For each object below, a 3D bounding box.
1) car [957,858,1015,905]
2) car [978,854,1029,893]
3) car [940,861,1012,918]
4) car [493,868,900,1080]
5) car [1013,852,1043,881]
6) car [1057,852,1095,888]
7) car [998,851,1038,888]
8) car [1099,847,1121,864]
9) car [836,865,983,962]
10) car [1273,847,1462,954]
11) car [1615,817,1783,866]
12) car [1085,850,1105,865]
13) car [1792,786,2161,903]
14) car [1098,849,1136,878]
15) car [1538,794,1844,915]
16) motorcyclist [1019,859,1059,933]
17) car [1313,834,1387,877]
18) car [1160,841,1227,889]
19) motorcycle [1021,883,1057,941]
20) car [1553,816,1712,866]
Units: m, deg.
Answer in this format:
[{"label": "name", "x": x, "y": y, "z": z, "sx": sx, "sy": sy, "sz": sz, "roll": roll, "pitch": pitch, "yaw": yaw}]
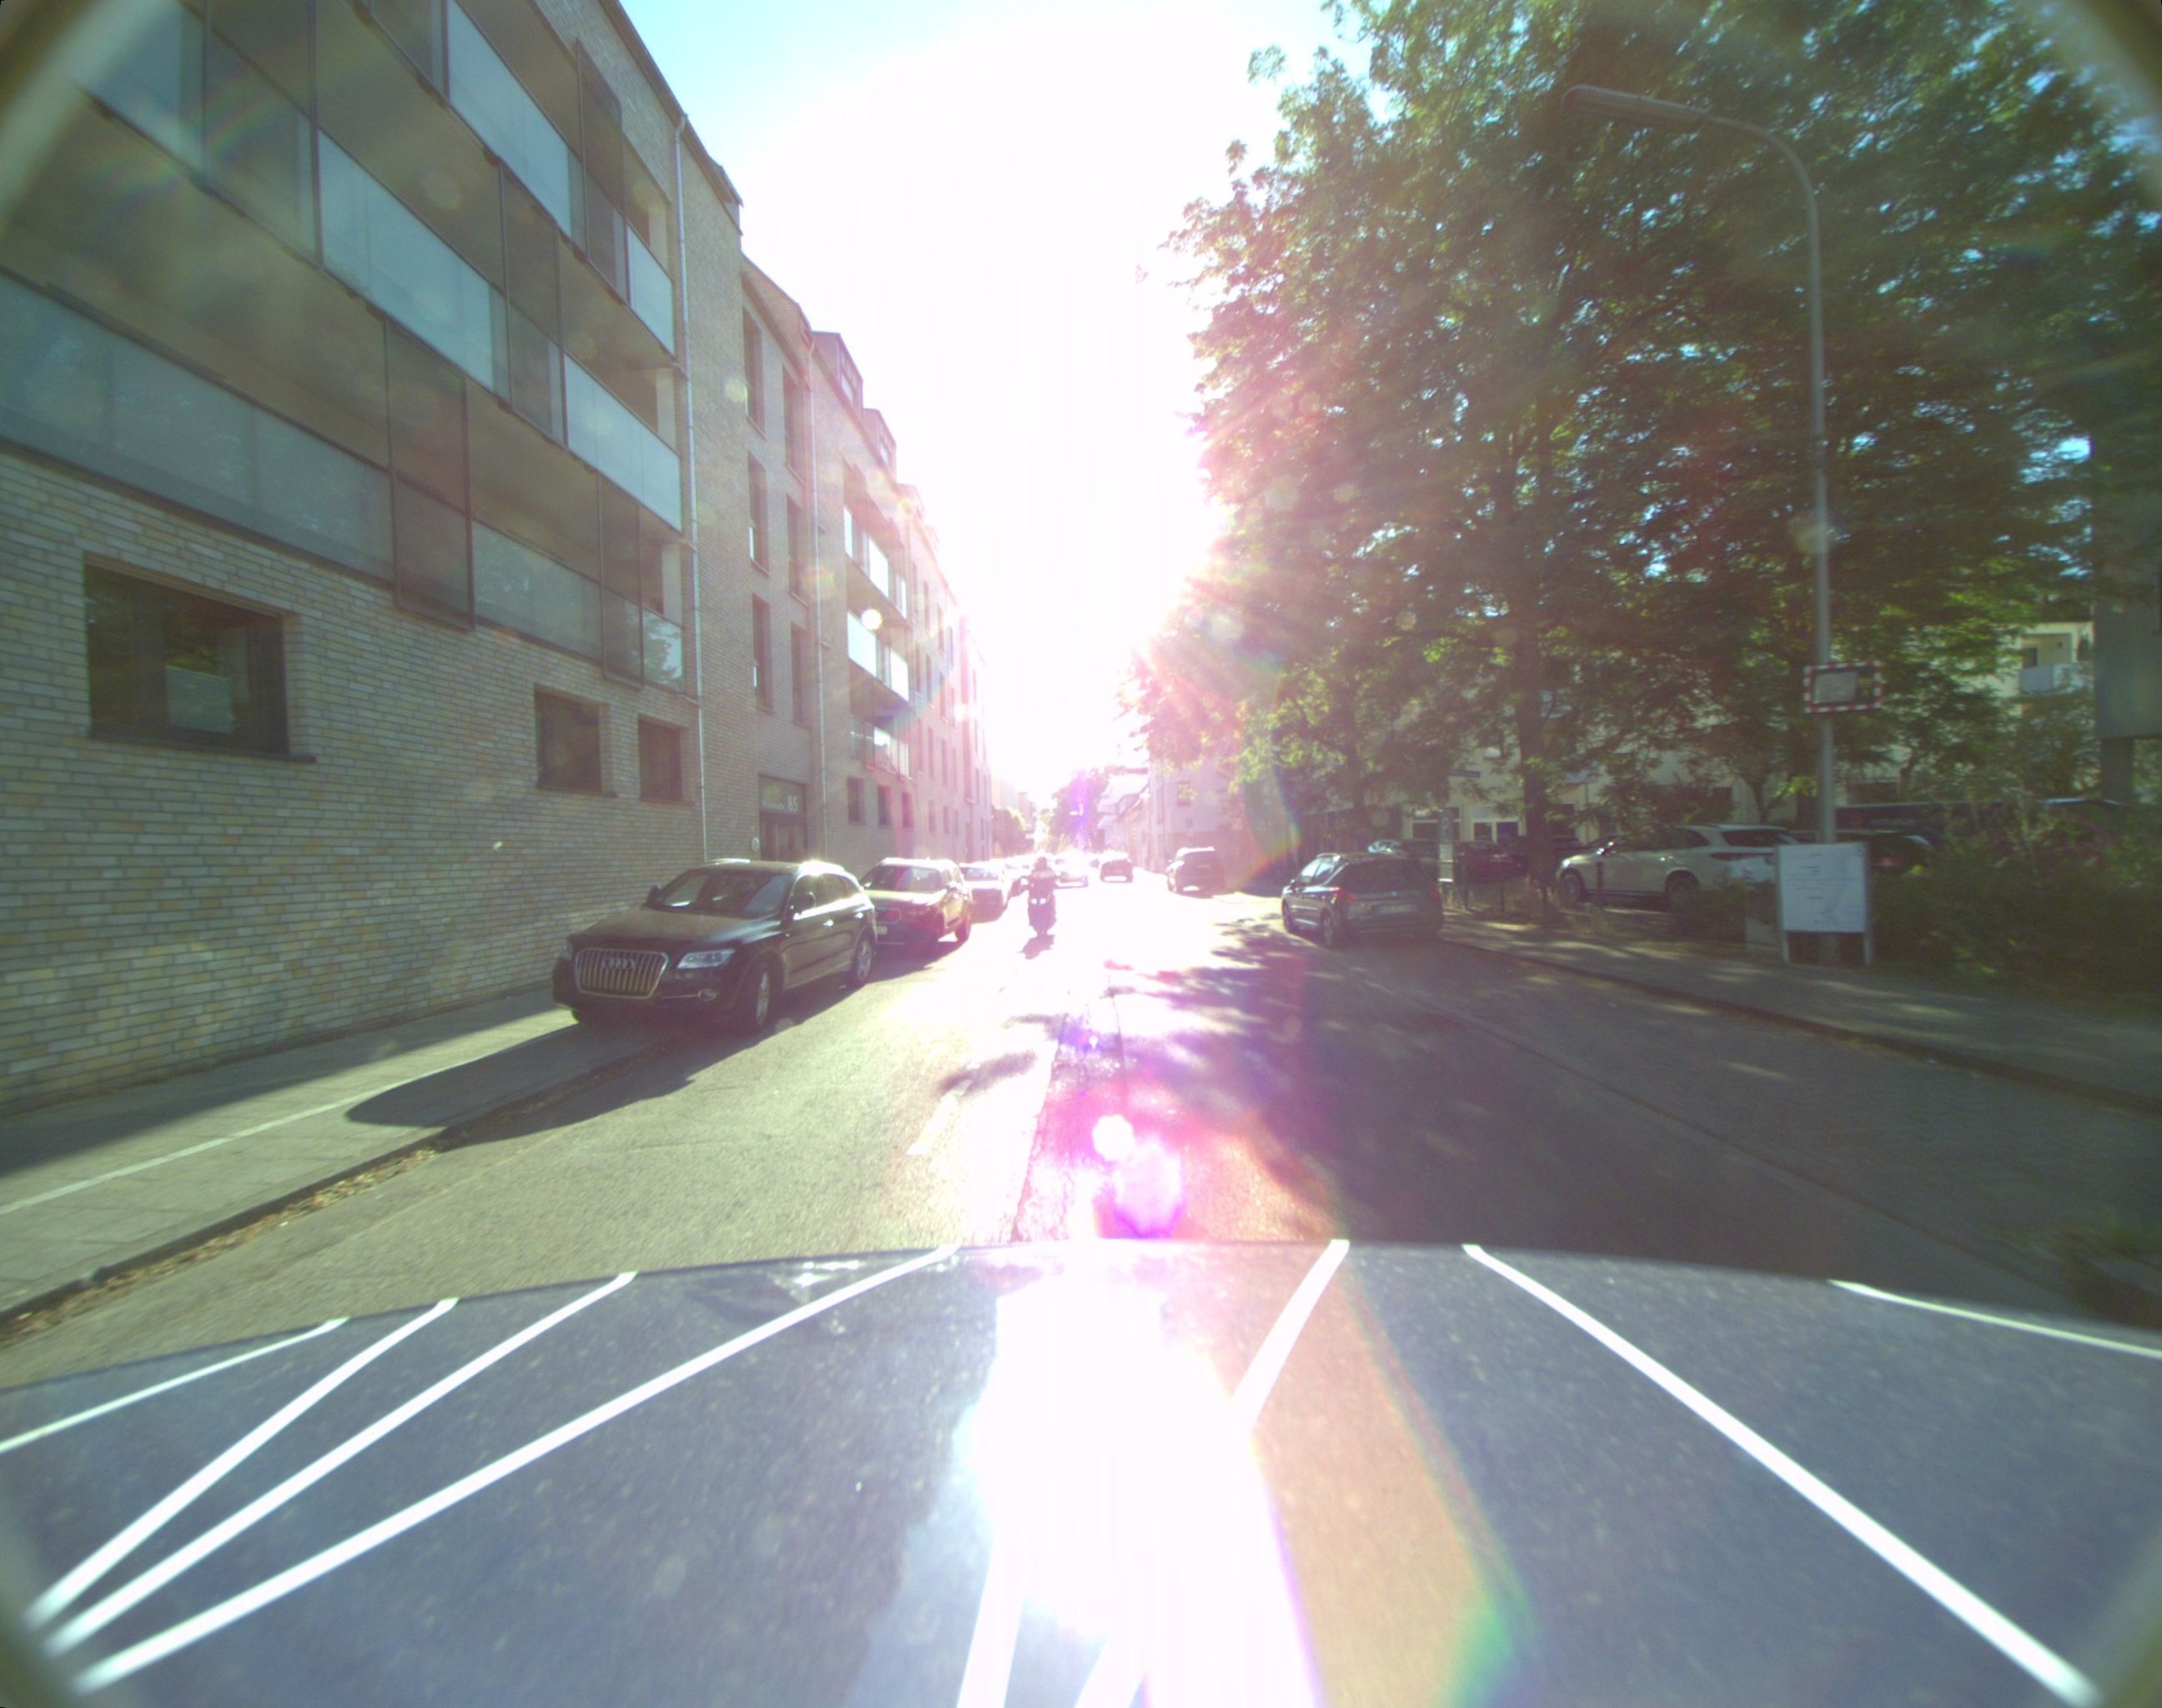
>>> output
[{"label": "car", "x": -3.403, "y": 0.946, "z": 27.893, "sx": 1.668, "sy": 1.507, "sz": 4.218, "roll": -1, "pitch": 1, "yaw": -1}, {"label": "car", "x": -3.351, "y": 0.820, "z": 33.751, "sx": 1.729, "sy": 1.521, "sz": 4.625, "roll": 1, "pitch": 1, "yaw": 0}, {"label": "car", "x": -3.104, "y": 0.991, "z": 23.253, "sx": 1.701, "sy": 1.459, "sz": 4.718, "roll": -1, "pitch": 1, "yaw": -2}, {"label": "car", "x": -3.895, "y": 1.087, "z": 8.914, "sx": 1.893, "sy": 1.702, "sz": 4.776, "roll": -2, "pitch": 0, "yaw": 6}, {"label": "car", "x": -3.045, "y": 0.674, "z": 44.309, "sx": 1.655, "sy": 1.582, "sz": 4.341, "roll": 0, "pitch": 0, "yaw": -3}, {"label": "car", "x": -0.262, "y": 0.785, "z": 38.287, "sx": 1.708, "sy": 1.570, "sz": 3.915, "roll": -4, "pitch": 1, "yaw": 0}, {"label": "car", "x": -3.159, "y": 0.729, "z": 39.060, "sx": 1.671, "sy": 1.723, "sz": 4.838, "roll": -2, "pitch": 1, "yaw": -1}, {"label": "car", "x": 3.278, "y": 0.119, "z": 86.673, "sx": 1.999, "sy": 1.619, "sz": 3.999, "roll": -9, "pitch": 1, "yaw": -1}, {"label": "car", "x": -3.157, "y": 1.034, "z": 14.882, "sx": 1.821, "sy": 1.458, "sz": 4.269, "roll": -2, "pitch": 1, "yaw": 0}, {"label": "car", "x": 4.678, "y": 0.667, "z": 13.050, "sx": 1.701, "sy": 1.483, "sz": 4.000, "roll": -3, "pitch": 0, "yaw": 0}, {"label": "car", "x": 22.474, "y": -0.440, "z": 27.991, "sx": 1.943, "sy": 1.551, "sz": 5.186, "roll": -3, "pitch": 0, "yaw": 0}, {"label": "car", "x": 1.402, "y": 0.303, "z": 78.444, "sx": 1.812, "sy": 1.458, "sz": 3.999, "roll": -2, "pitch": 1, "yaw": -2}, {"label": "car", "x": 17.385, "y": -0.174, "z": 15.134, "sx": 2.024, "sy": 1.937, "sz": 4.320, "roll": -3, "pitch": 1, "yaw": -10}, {"label": "car", "x": 2.095, "y": 0.534, "z": 45.317, "sx": 1.944, "sy": 1.567, "sz": 4.318, "roll": -2, "pitch": 1, "yaw": 0}, {"label": "car", "x": 11.401, "y": 0.016, "z": 14.800, "sx": 1.848, "sy": 1.884, "sz": 4.905, "roll": -3, "pitch": 0, "yaw": -2}, {"label": "motorcyclist", "x": -0.828, "y": 0.827, "z": 15.228, "sx": 0.717, "sy": 1.424, "sz": 0.746, "roll": -2, "pitch": 1, "yaw": 0}, {"label": "car", "x": 9.707, "y": 0.040, "z": 27.667, "sx": 1.524, "sy": 1.400, "sz": 3.639, "roll": -2, "pitch": 1, "yaw": 2}, {"label": "car", "x": 4.638, "y": 0.406, "z": 32.001, "sx": 1.936, "sy": 1.695, "sz": 5.100, "roll": -5, "pitch": 1, "yaw": 0}, {"label": "motorcycle", "x": -0.833, "y": 1.150, "z": 15.535, "sx": 0.598, "sy": 1.004, "sz": 1.821, "roll": -2, "pitch": 1, "yaw": 0}, {"label": "car", "x": 19.500, "y": -0.445, "z": 27.210, "sx": 1.999, "sy": 1.467, "sz": 4.830, "roll": -5, "pitch": 1, "yaw": -2}]
